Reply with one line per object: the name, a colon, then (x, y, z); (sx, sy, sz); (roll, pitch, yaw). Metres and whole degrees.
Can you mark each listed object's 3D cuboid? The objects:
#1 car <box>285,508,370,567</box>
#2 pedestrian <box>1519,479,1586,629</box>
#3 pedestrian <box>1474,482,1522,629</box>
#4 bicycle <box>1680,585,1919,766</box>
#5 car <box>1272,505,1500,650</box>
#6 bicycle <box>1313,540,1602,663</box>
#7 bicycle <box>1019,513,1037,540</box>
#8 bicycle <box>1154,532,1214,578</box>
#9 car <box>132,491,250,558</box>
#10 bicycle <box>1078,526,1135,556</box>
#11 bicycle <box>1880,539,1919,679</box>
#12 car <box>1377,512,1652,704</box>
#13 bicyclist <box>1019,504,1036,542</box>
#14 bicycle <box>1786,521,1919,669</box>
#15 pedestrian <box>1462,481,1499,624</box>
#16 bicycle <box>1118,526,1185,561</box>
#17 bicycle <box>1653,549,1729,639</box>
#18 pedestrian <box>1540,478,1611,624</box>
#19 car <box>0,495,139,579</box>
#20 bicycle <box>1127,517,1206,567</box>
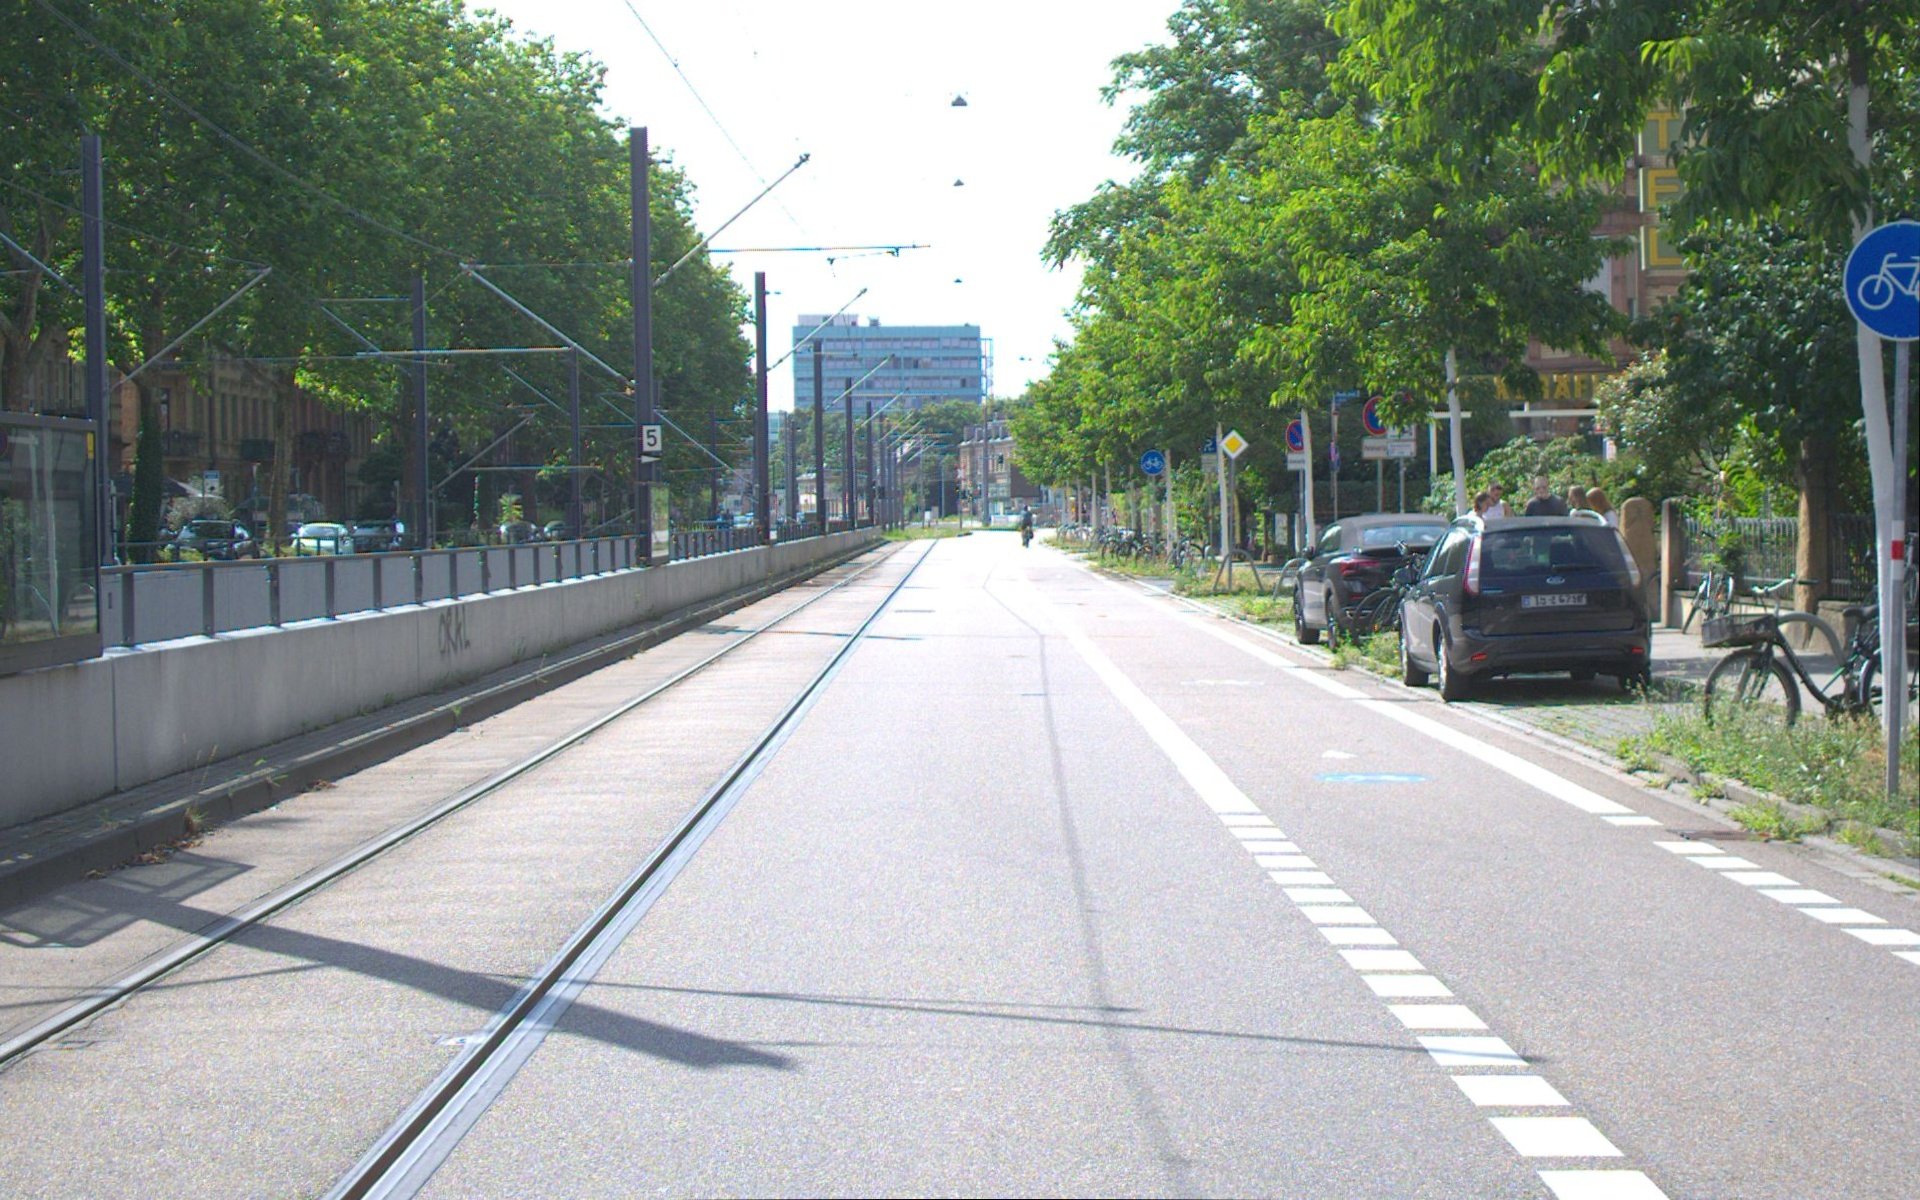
car: (-20.014, -2.004, 108.951); (1.839, 1.722, 4.000); (-3, 2, 0)
pedestrian: (7.255, -0.569, 42.087); (0.669, 1.798, 0.319); (-3, 2, -1)
pedestrian: (6.678, -0.556, 42.676); (0.459, 1.798, 0.319); (-3, 2, -1)
bicycle: (5.315, 0.452, 21.053); (1.705, 1.065, 0.471); (-1, 1, -5)
car: (4.901, -0.314, 40.151); (1.798, 1.521, 4.490); (-3, 2, -3)
bicycle: (5.304, 0.009, 36.635); (2.945, 1.242, 0.793); (-1, 1, -12)
bicycle: (3.071, -3.349, 155.983); (0.799, 1.232, 2.778); (0, 1, 1)
bicycle: (5.275, -1.069, 81.098); (0.649, 1.035, 1.822); (-4, 2, -21)
car: (-20.277, -2.015, 90.756); (1.994, 1.631, 4.000); (-3, 2, 2)
bicycle: (4.888, -1.966, 115.100); (1.816, 0.899, 0.604); (-3, 2, -3)
bicycle: (8.136, 0.076, 28.503); (0.427, 1.136, 2.023); (-3, 1, 0)
car: (4.769, 0.002, 30.137); (1.686, 1.497, 4.708); (-1, 2, 1)
bicyclist: (3.071, -3.505, 155.925); (0.770, 1.724, 1.026); (0, 1, 1)
bicycle: (8.241, -0.077, 31.356); (0.658, 1.244, 2.943); (-4, 1, 0)
pedestrian: (6.325, -0.580, 41.754); (0.318, 1.701, 0.460); (-3, 2, 14)
bicycle: (5.516, -1.638, 98.905); (1.816, 0.899, 0.652); (-3, 2, -3)
bicycle: (8.174, -0.081, 38.490); (0.427, 0.936, 1.807); (-3, 1, 0)
pedestrian: (7.230, -0.576, 40.361); (0.528, 1.670, 0.575); (-4, 2, -18)
car: (-19.634, -1.406, 75.843); (1.718, 1.685, 3.729); (-2, 2, 7)
bicycle: (5.183, -1.455, 86.266); (1.815, 1.141, 0.652); (-3, 2, -10)
